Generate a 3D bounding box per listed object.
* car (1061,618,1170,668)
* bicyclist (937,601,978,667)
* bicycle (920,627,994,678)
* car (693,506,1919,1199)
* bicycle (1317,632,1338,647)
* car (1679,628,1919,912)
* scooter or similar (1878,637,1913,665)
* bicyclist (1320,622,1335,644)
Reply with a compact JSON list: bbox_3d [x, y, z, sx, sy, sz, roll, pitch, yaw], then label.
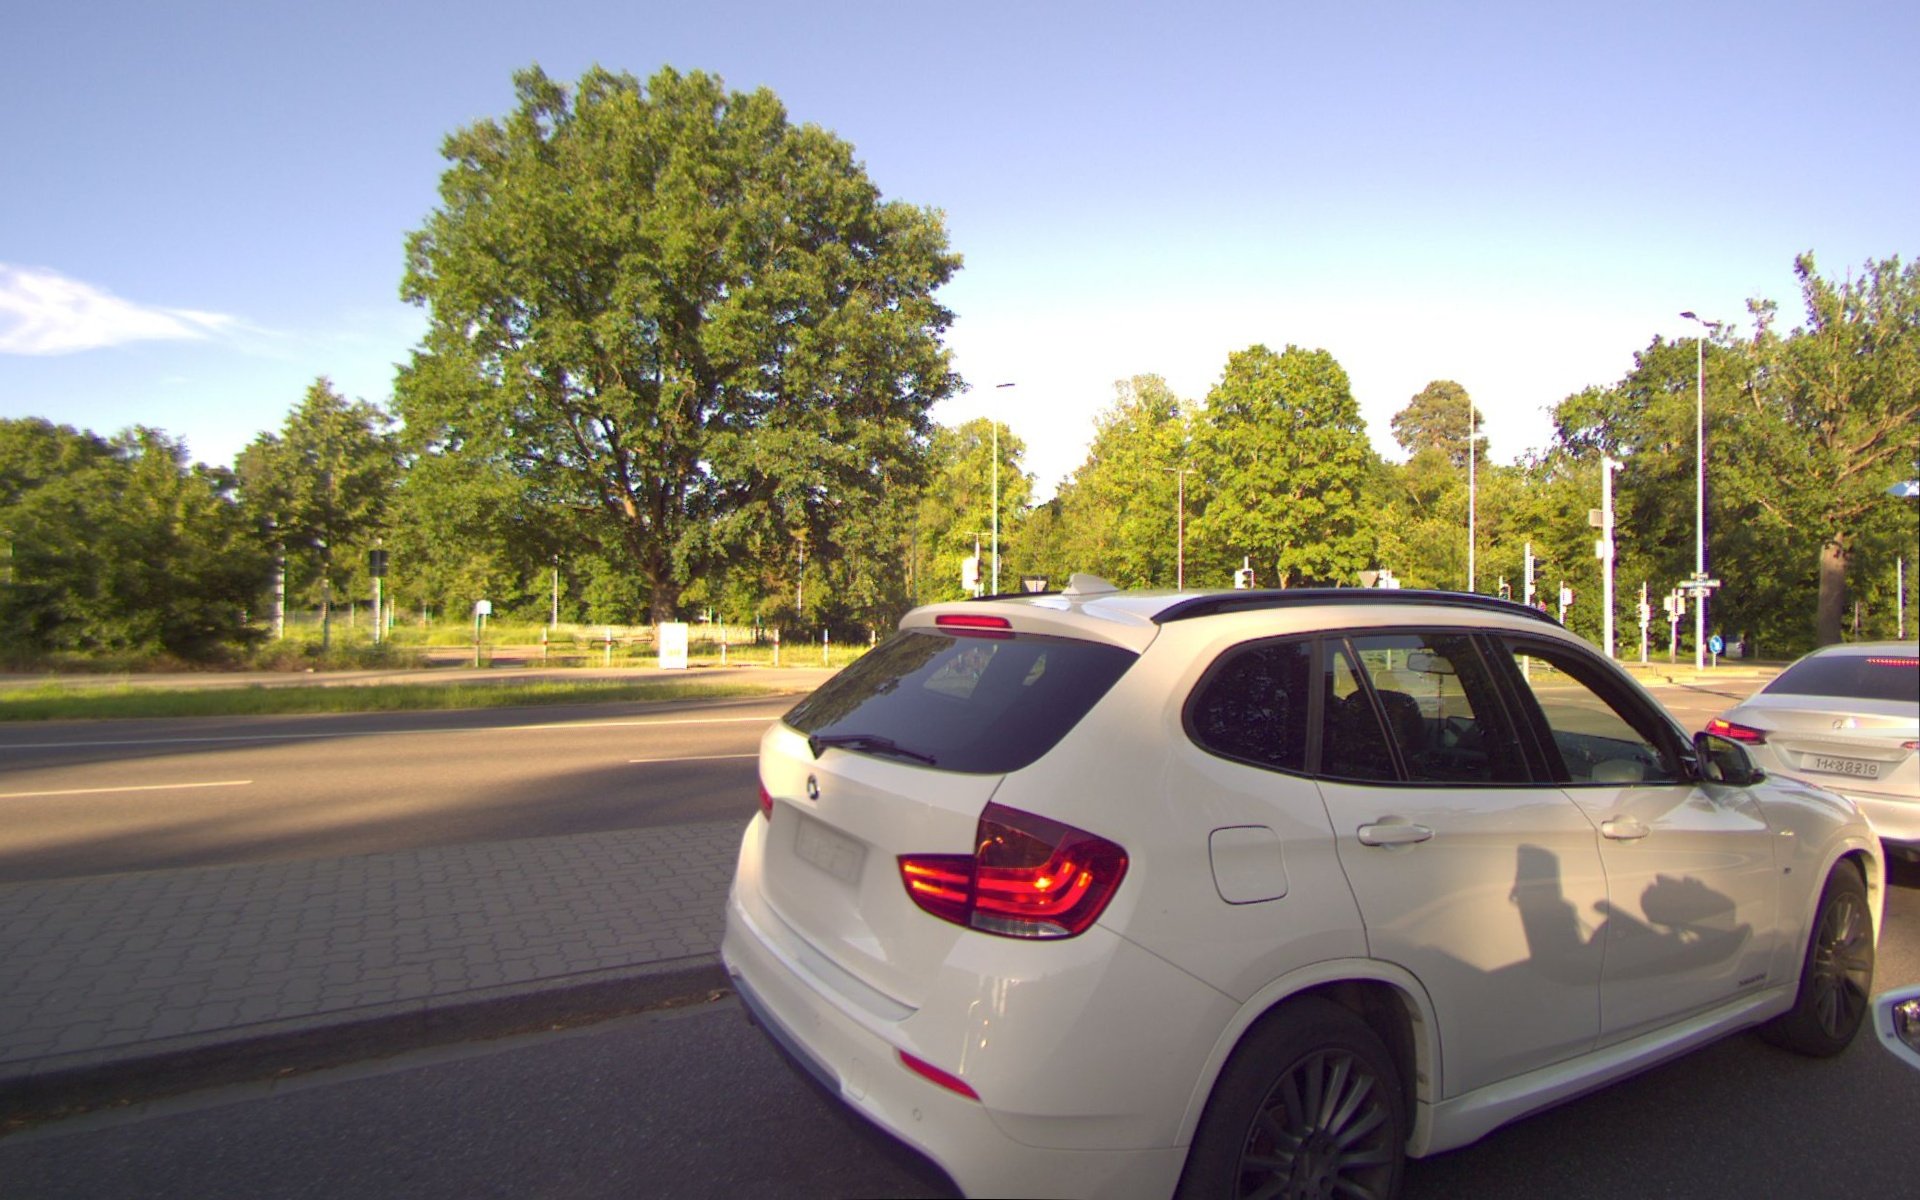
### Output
[{"bbox_3d":[5.267,1.447,34.712,1.862,1.574,4.555,-1,-1,-18],"label":"car"},{"bbox_3d":[-0.068,0.849,25.277,0.789,1.632,0.679,2,0,-23],"label":"bicyclist"},{"bbox_3d":[-0.067,1.317,25.249,1.770,1.254,0.492,2,0,-24],"label":"bicycle"},{"bbox_3d":[1.458,0.702,3.473,4.272,1.604,1.783,2,-1,-32],"label":"car"},{"bbox_3d":[26.681,2.867,72.924,0.770,0.990,1.588,2,0,-8],"label":"bicycle"},{"bbox_3d":[6.682,0.943,6.552,4.268,1.446,1.649,2,-1,-30],"label":"car"},{"bbox_3d":[40.693,2.215,43.709,0.388,1.162,1.065,0,-1,-21],"label":"scooter or similar"},{"bbox_3d":[26.695,2.387,72.966,0.716,1.502,0.799,2,0,-8],"label":"bicyclist"}]
